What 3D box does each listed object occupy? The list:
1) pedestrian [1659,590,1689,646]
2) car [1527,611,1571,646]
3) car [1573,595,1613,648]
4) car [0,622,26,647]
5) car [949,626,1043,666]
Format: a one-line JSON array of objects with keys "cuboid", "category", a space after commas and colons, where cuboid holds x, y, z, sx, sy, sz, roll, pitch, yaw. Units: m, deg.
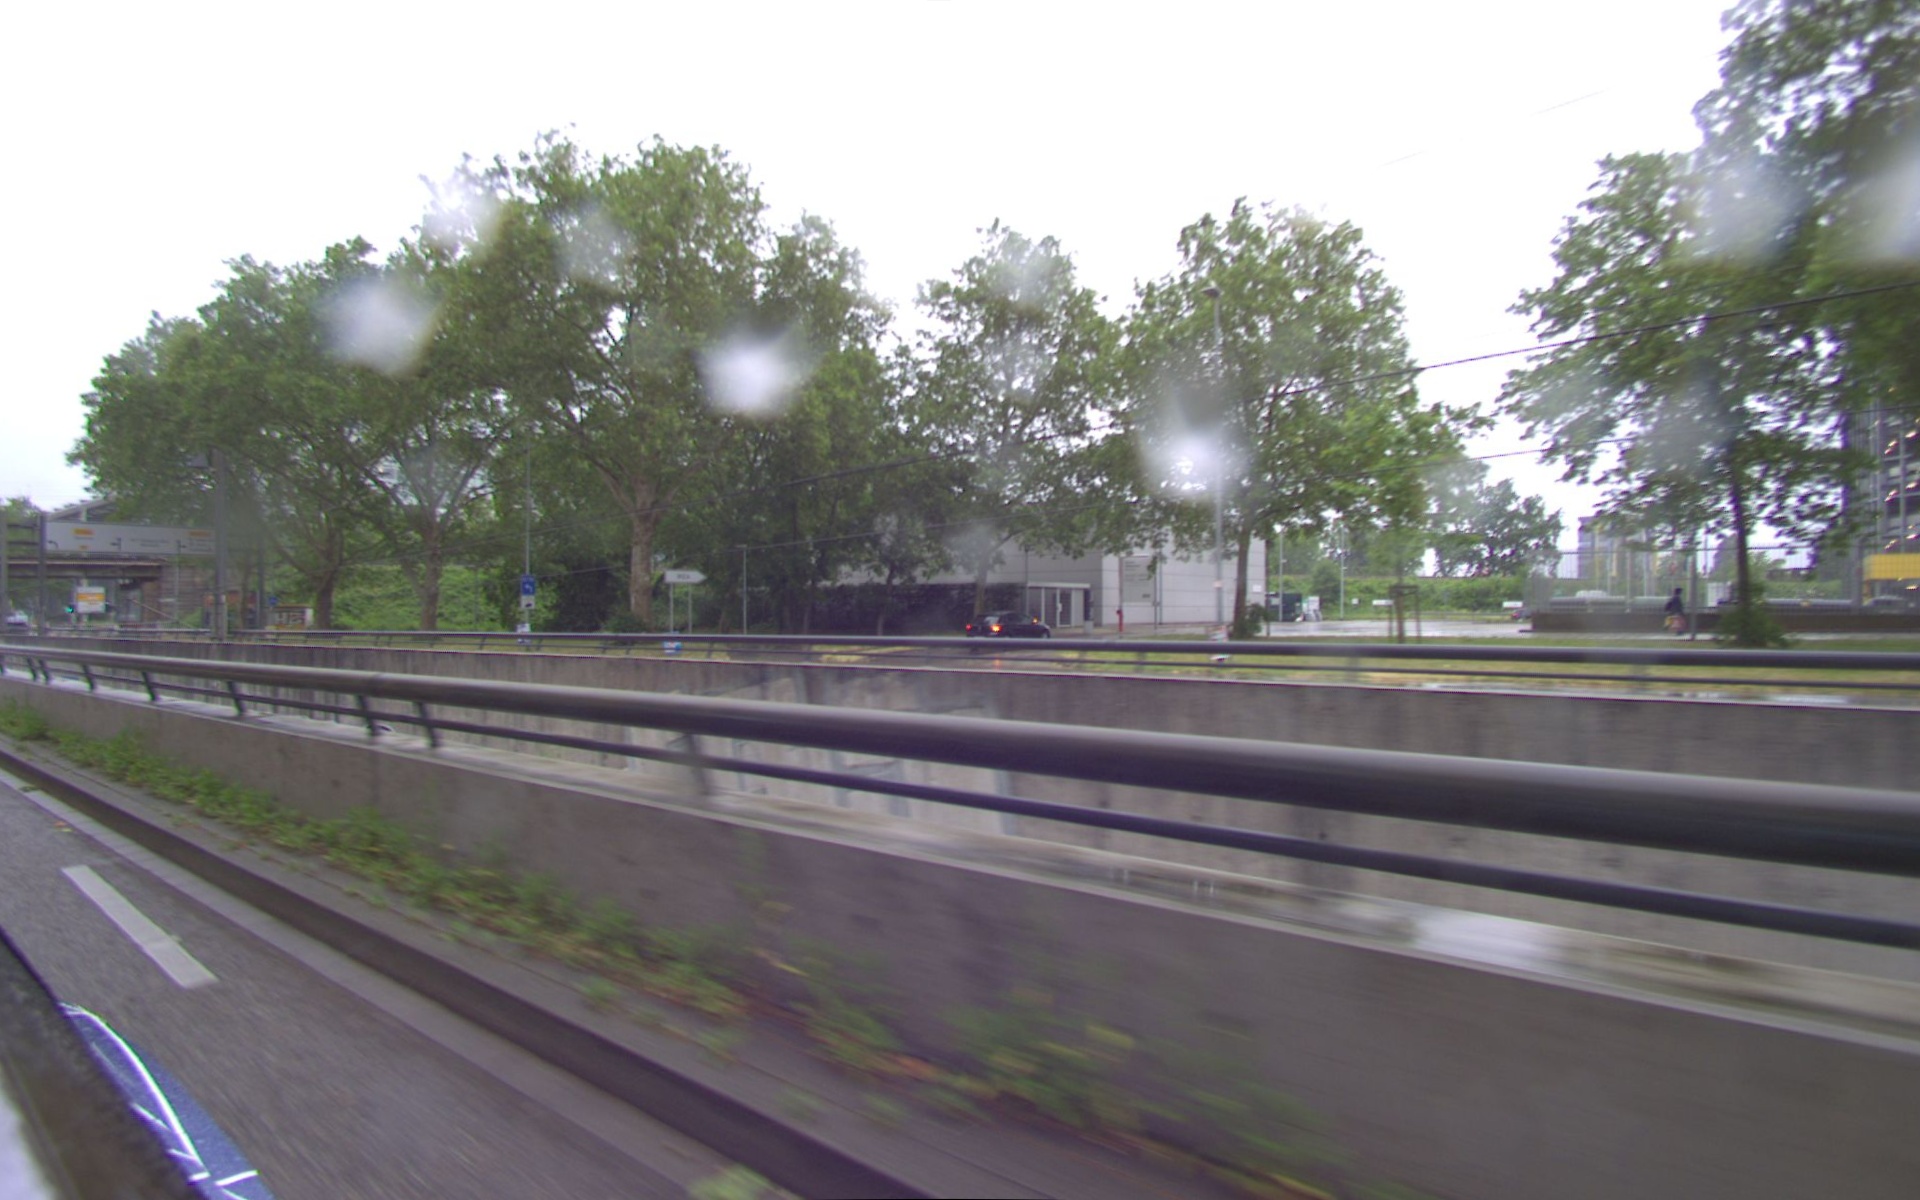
[{"cuboid": [26.404, 0.658, 37.416, 0.789, 2.029, 0.991, -1, 0, 41], "category": "pedestrian"}, {"cuboid": [49.020, 2.342, 84.173, 2.214, 2.847, 3.941, -1, -1, 45], "category": "car"}, {"cuboid": [50.920, 1.666, 81.383, 2.210, 4.136, 5.287, -1, -1, 38], "category": "car"}, {"cuboid": [-82.035, 2.934, 86.989, 4.505, 2.029, 1.974, -1, 0, 39], "category": "car"}, {"cuboid": [1.444, 1.760, 39.276, 1.994, 1.414, 3.751, -1, -1, 33], "category": "car"}]
